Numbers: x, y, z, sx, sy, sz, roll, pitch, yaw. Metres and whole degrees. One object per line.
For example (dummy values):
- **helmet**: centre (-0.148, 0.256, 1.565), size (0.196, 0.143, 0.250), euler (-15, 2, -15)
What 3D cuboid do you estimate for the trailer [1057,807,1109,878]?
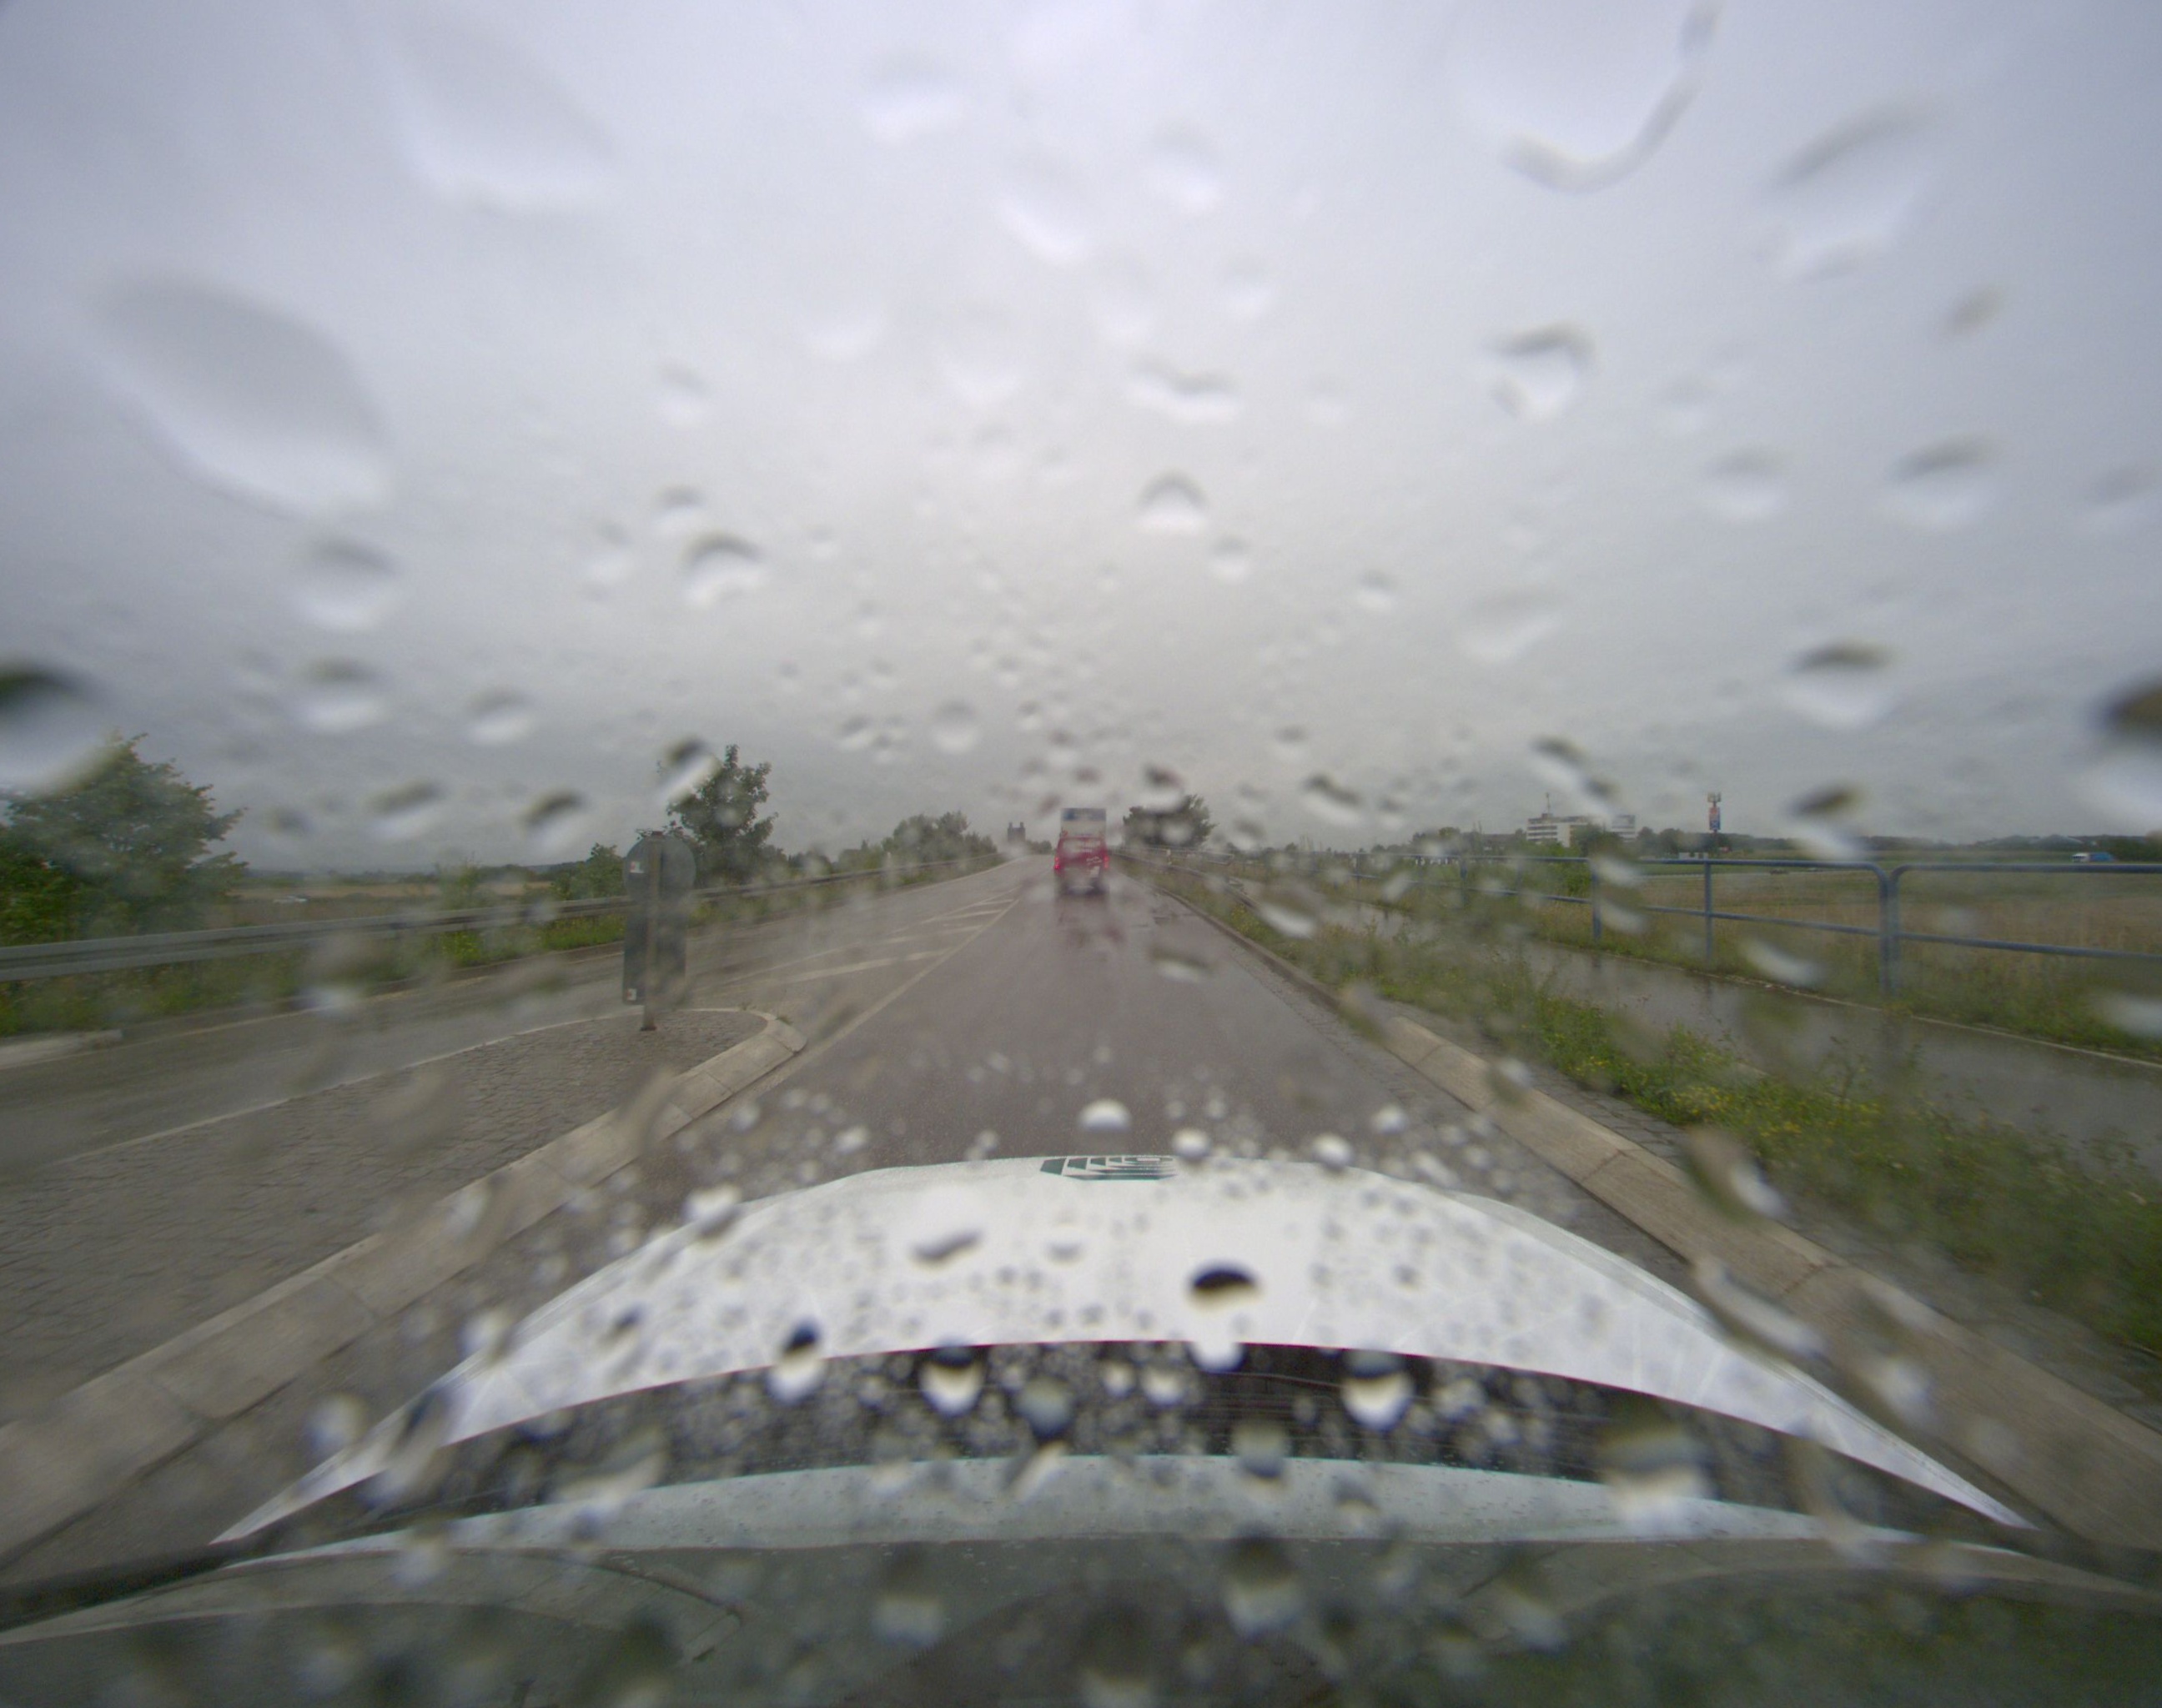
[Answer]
- **trailer**: centre (0.157, -0.624, 49.782), size (2.822, 3.819, 9.714), euler (-1, 0, 0)

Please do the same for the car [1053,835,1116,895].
- **car**: centre (0.206, 0.338, 28.758), size (1.986, 1.870, 4.981), euler (-2, 0, 2)
